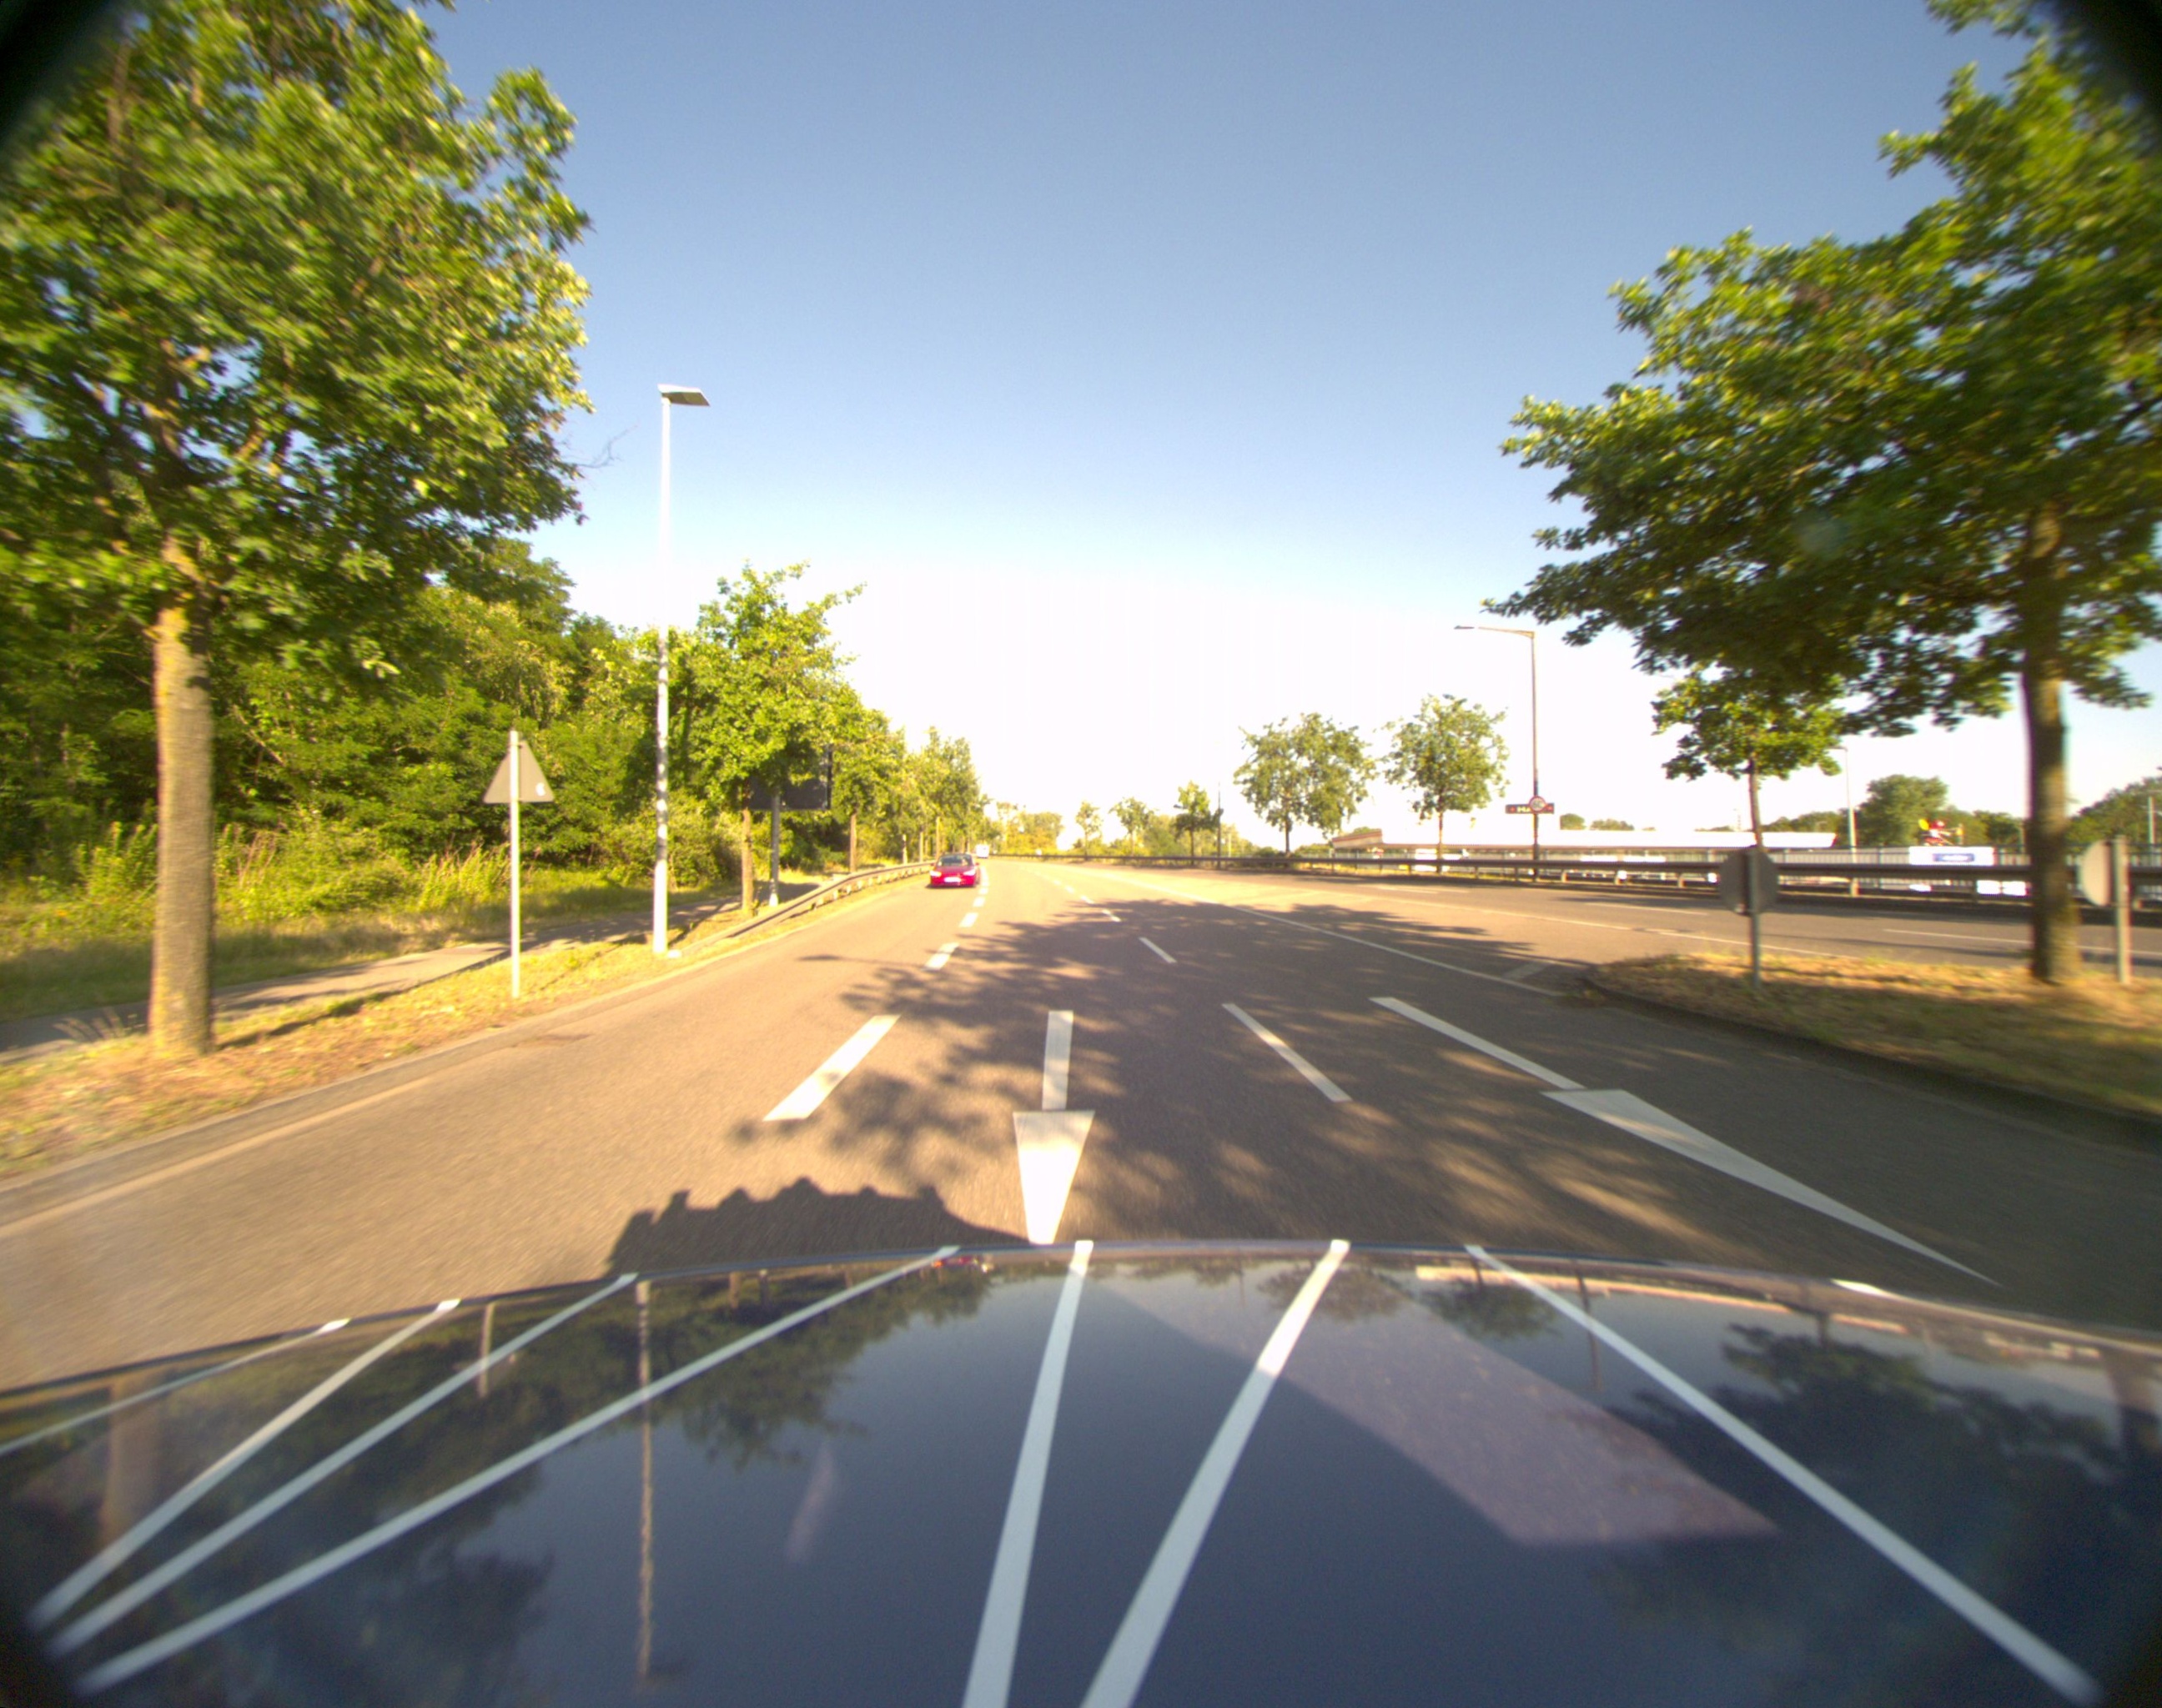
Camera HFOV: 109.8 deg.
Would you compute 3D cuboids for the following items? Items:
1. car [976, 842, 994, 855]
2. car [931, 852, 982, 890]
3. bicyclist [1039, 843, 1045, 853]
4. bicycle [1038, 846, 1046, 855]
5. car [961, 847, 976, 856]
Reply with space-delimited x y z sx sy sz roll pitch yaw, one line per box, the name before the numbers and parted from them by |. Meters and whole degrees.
car | -14.723 -0.858 116.010 1.885 2.002 5.251 -2 2 -16
car | -5.225 0.657 32.330 1.782 1.434 4.356 -1 1 -5
bicyclist | -5.274 -0.815 103.557 0.602 1.451 0.827 2 1 -16
bicycle | -5.308 -0.470 103.573 0.584 1.071 2.309 2 1 -16
car | -19.541 -0.397 132.140 1.779 1.457 4.376 0 1 -18
